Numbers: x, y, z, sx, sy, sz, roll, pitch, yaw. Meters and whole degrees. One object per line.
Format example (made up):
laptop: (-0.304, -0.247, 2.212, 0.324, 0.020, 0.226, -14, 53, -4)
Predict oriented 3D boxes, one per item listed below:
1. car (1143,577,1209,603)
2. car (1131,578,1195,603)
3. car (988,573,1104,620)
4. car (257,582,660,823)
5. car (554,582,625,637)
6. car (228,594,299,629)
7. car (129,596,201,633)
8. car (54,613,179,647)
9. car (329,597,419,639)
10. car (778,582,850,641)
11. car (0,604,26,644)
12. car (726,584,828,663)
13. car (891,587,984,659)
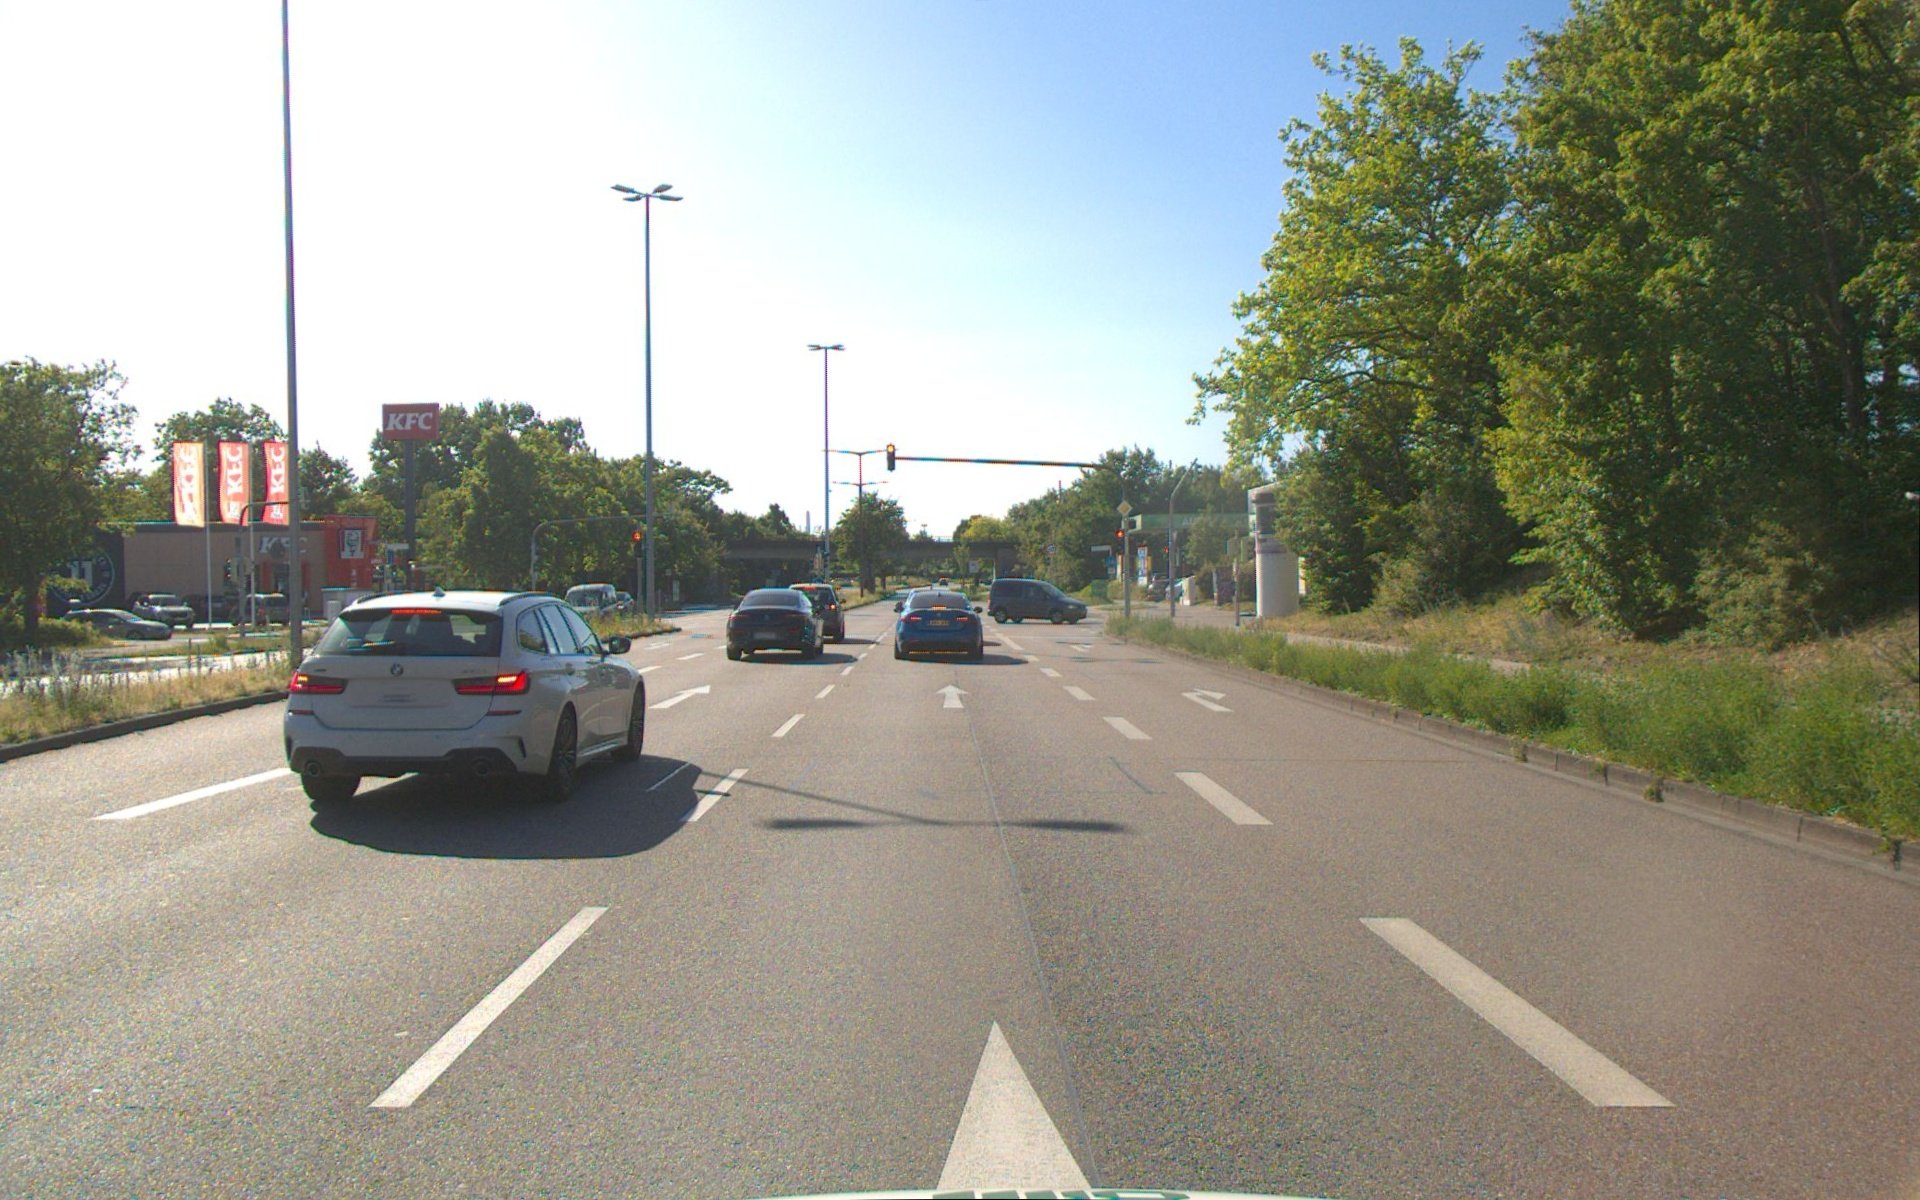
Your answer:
car: (13.616, -0.641, 104.458, 3.905, 1.579, 2.000, 1, 0, 0)
car: (13.889, -0.640, 113.204, 3.925, 1.579, 1.990, 1, 0, -18)
car: (3.612, -0.137, 69.606, 4.493, 1.908, 1.816, -1, 0, 28)
car: (-3.606, 0.666, 12.834, 1.775, 1.512, 4.595, 1, 0, -1)
car: (-13.308, 0.351, 59.628, 1.644, 1.880, 4.294, 1, 0, -2)
car: (-36.295, 0.600, 86.120, 4.025, 1.770, 1.922, 1, 0, 43)
car: (-39.647, 0.704, 82.414, 4.025, 1.770, 1.922, 1, 0, 43)
car: (-33.704, 1.200, 66.173, 4.001, 1.274, 1.870, 1, 0, -3)
car: (-26.506, 0.800, 74.782, 3.709, 1.845, 1.986, 1, 0, -23)
car: (-4.099, 0.310, 46.925, 1.776, 1.578, 4.351, 1, 0, -2)
car: (-40.526, 0.928, 66.720, 4.530, 1.607, 1.935, 1, 0, -3)
car: (-3.841, 0.450, 35.413, 1.775, 1.578, 4.542, 0, 0, -1)
car: (-0.428, 0.474, 35.661, 1.870, 1.447, 3.719, 1, 0, 1)
